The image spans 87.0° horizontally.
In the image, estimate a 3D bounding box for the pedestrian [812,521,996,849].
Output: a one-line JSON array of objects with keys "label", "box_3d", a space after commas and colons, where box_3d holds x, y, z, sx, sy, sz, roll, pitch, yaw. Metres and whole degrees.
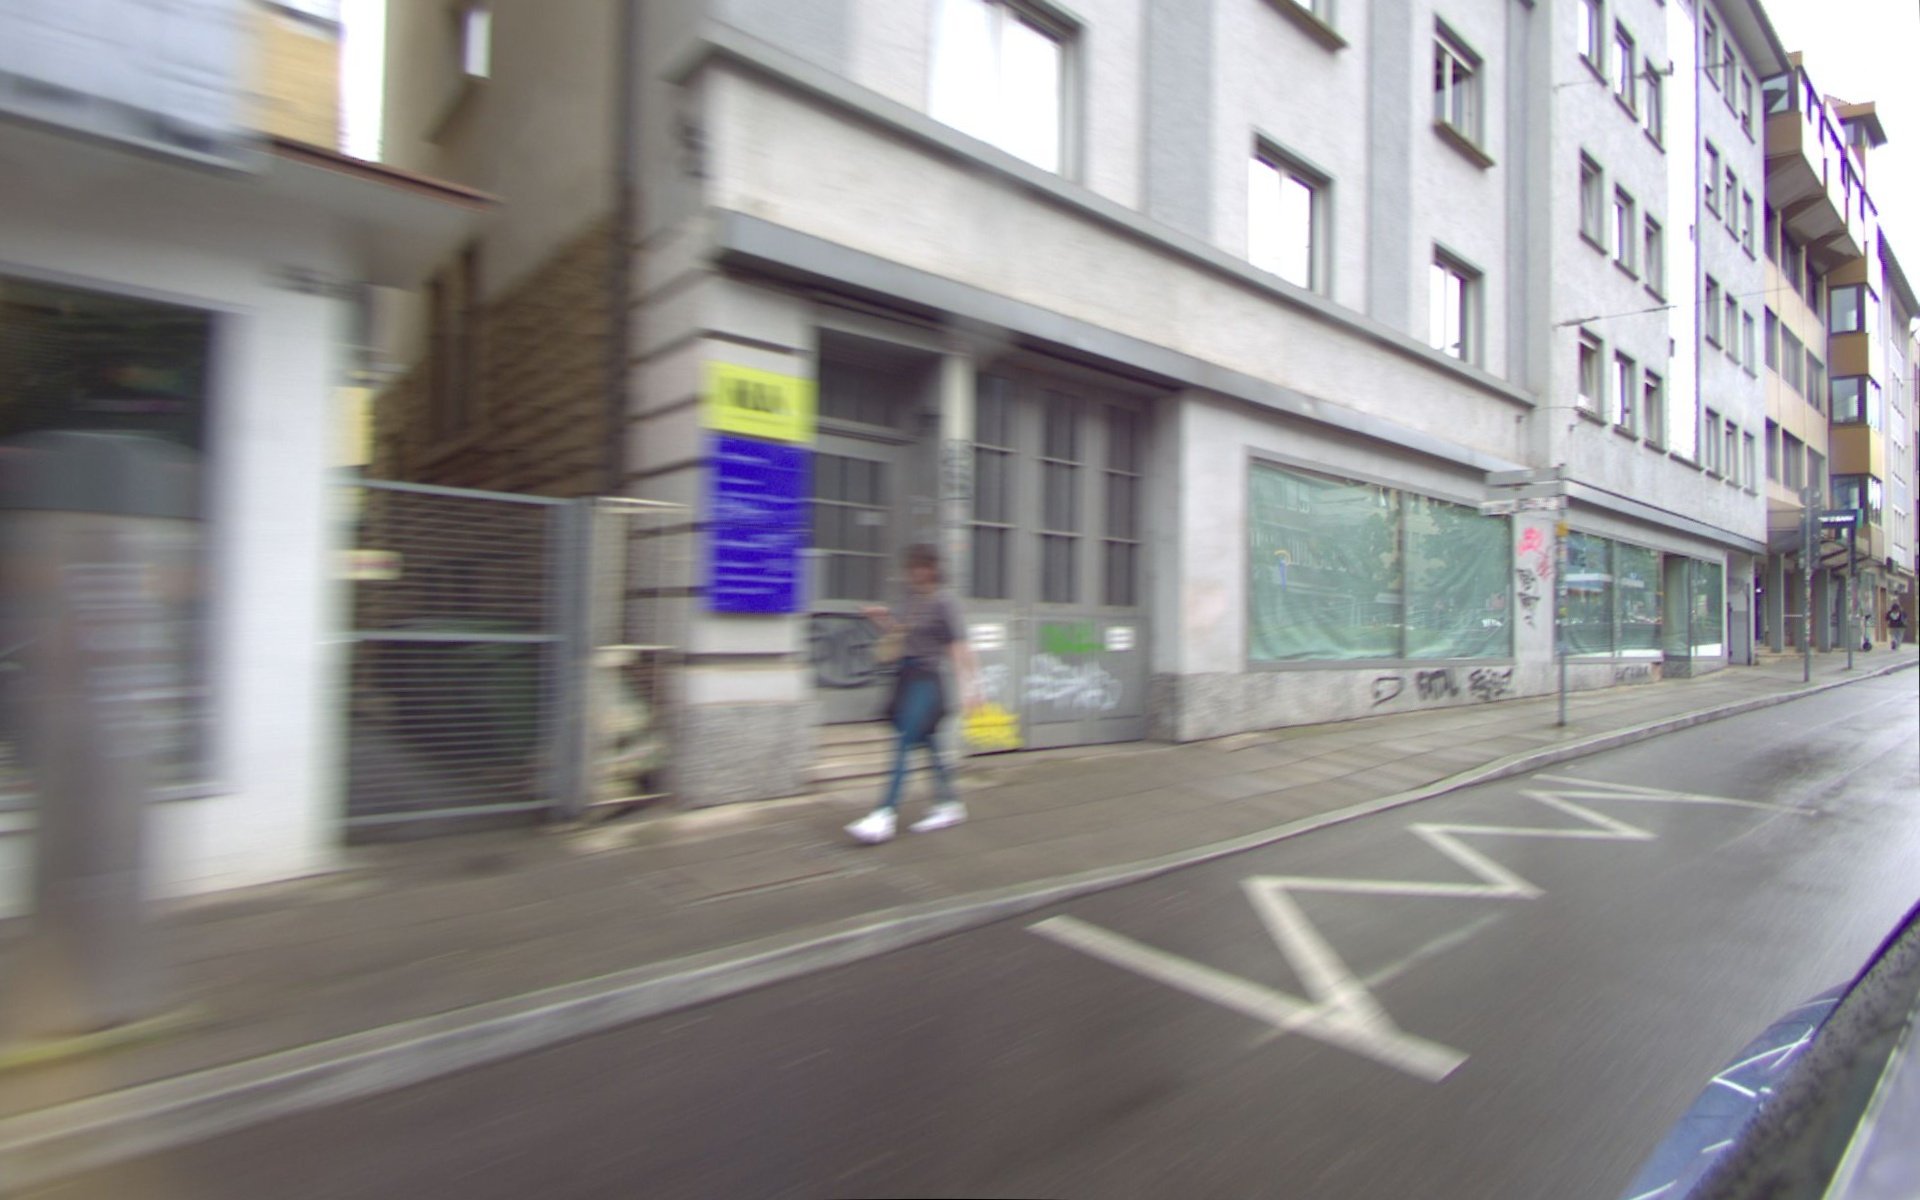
[{"label": "pedestrian", "box_3d": [-0.322, 0.442, 5.731, 0.708, 1.681, 0.792, 1, -2, -41]}]

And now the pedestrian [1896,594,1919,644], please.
[{"label": "pedestrian", "box_3d": [33.201, 0.660, 35.356, 0.867, 1.722, 0.639, 1, 0, -40]}]
